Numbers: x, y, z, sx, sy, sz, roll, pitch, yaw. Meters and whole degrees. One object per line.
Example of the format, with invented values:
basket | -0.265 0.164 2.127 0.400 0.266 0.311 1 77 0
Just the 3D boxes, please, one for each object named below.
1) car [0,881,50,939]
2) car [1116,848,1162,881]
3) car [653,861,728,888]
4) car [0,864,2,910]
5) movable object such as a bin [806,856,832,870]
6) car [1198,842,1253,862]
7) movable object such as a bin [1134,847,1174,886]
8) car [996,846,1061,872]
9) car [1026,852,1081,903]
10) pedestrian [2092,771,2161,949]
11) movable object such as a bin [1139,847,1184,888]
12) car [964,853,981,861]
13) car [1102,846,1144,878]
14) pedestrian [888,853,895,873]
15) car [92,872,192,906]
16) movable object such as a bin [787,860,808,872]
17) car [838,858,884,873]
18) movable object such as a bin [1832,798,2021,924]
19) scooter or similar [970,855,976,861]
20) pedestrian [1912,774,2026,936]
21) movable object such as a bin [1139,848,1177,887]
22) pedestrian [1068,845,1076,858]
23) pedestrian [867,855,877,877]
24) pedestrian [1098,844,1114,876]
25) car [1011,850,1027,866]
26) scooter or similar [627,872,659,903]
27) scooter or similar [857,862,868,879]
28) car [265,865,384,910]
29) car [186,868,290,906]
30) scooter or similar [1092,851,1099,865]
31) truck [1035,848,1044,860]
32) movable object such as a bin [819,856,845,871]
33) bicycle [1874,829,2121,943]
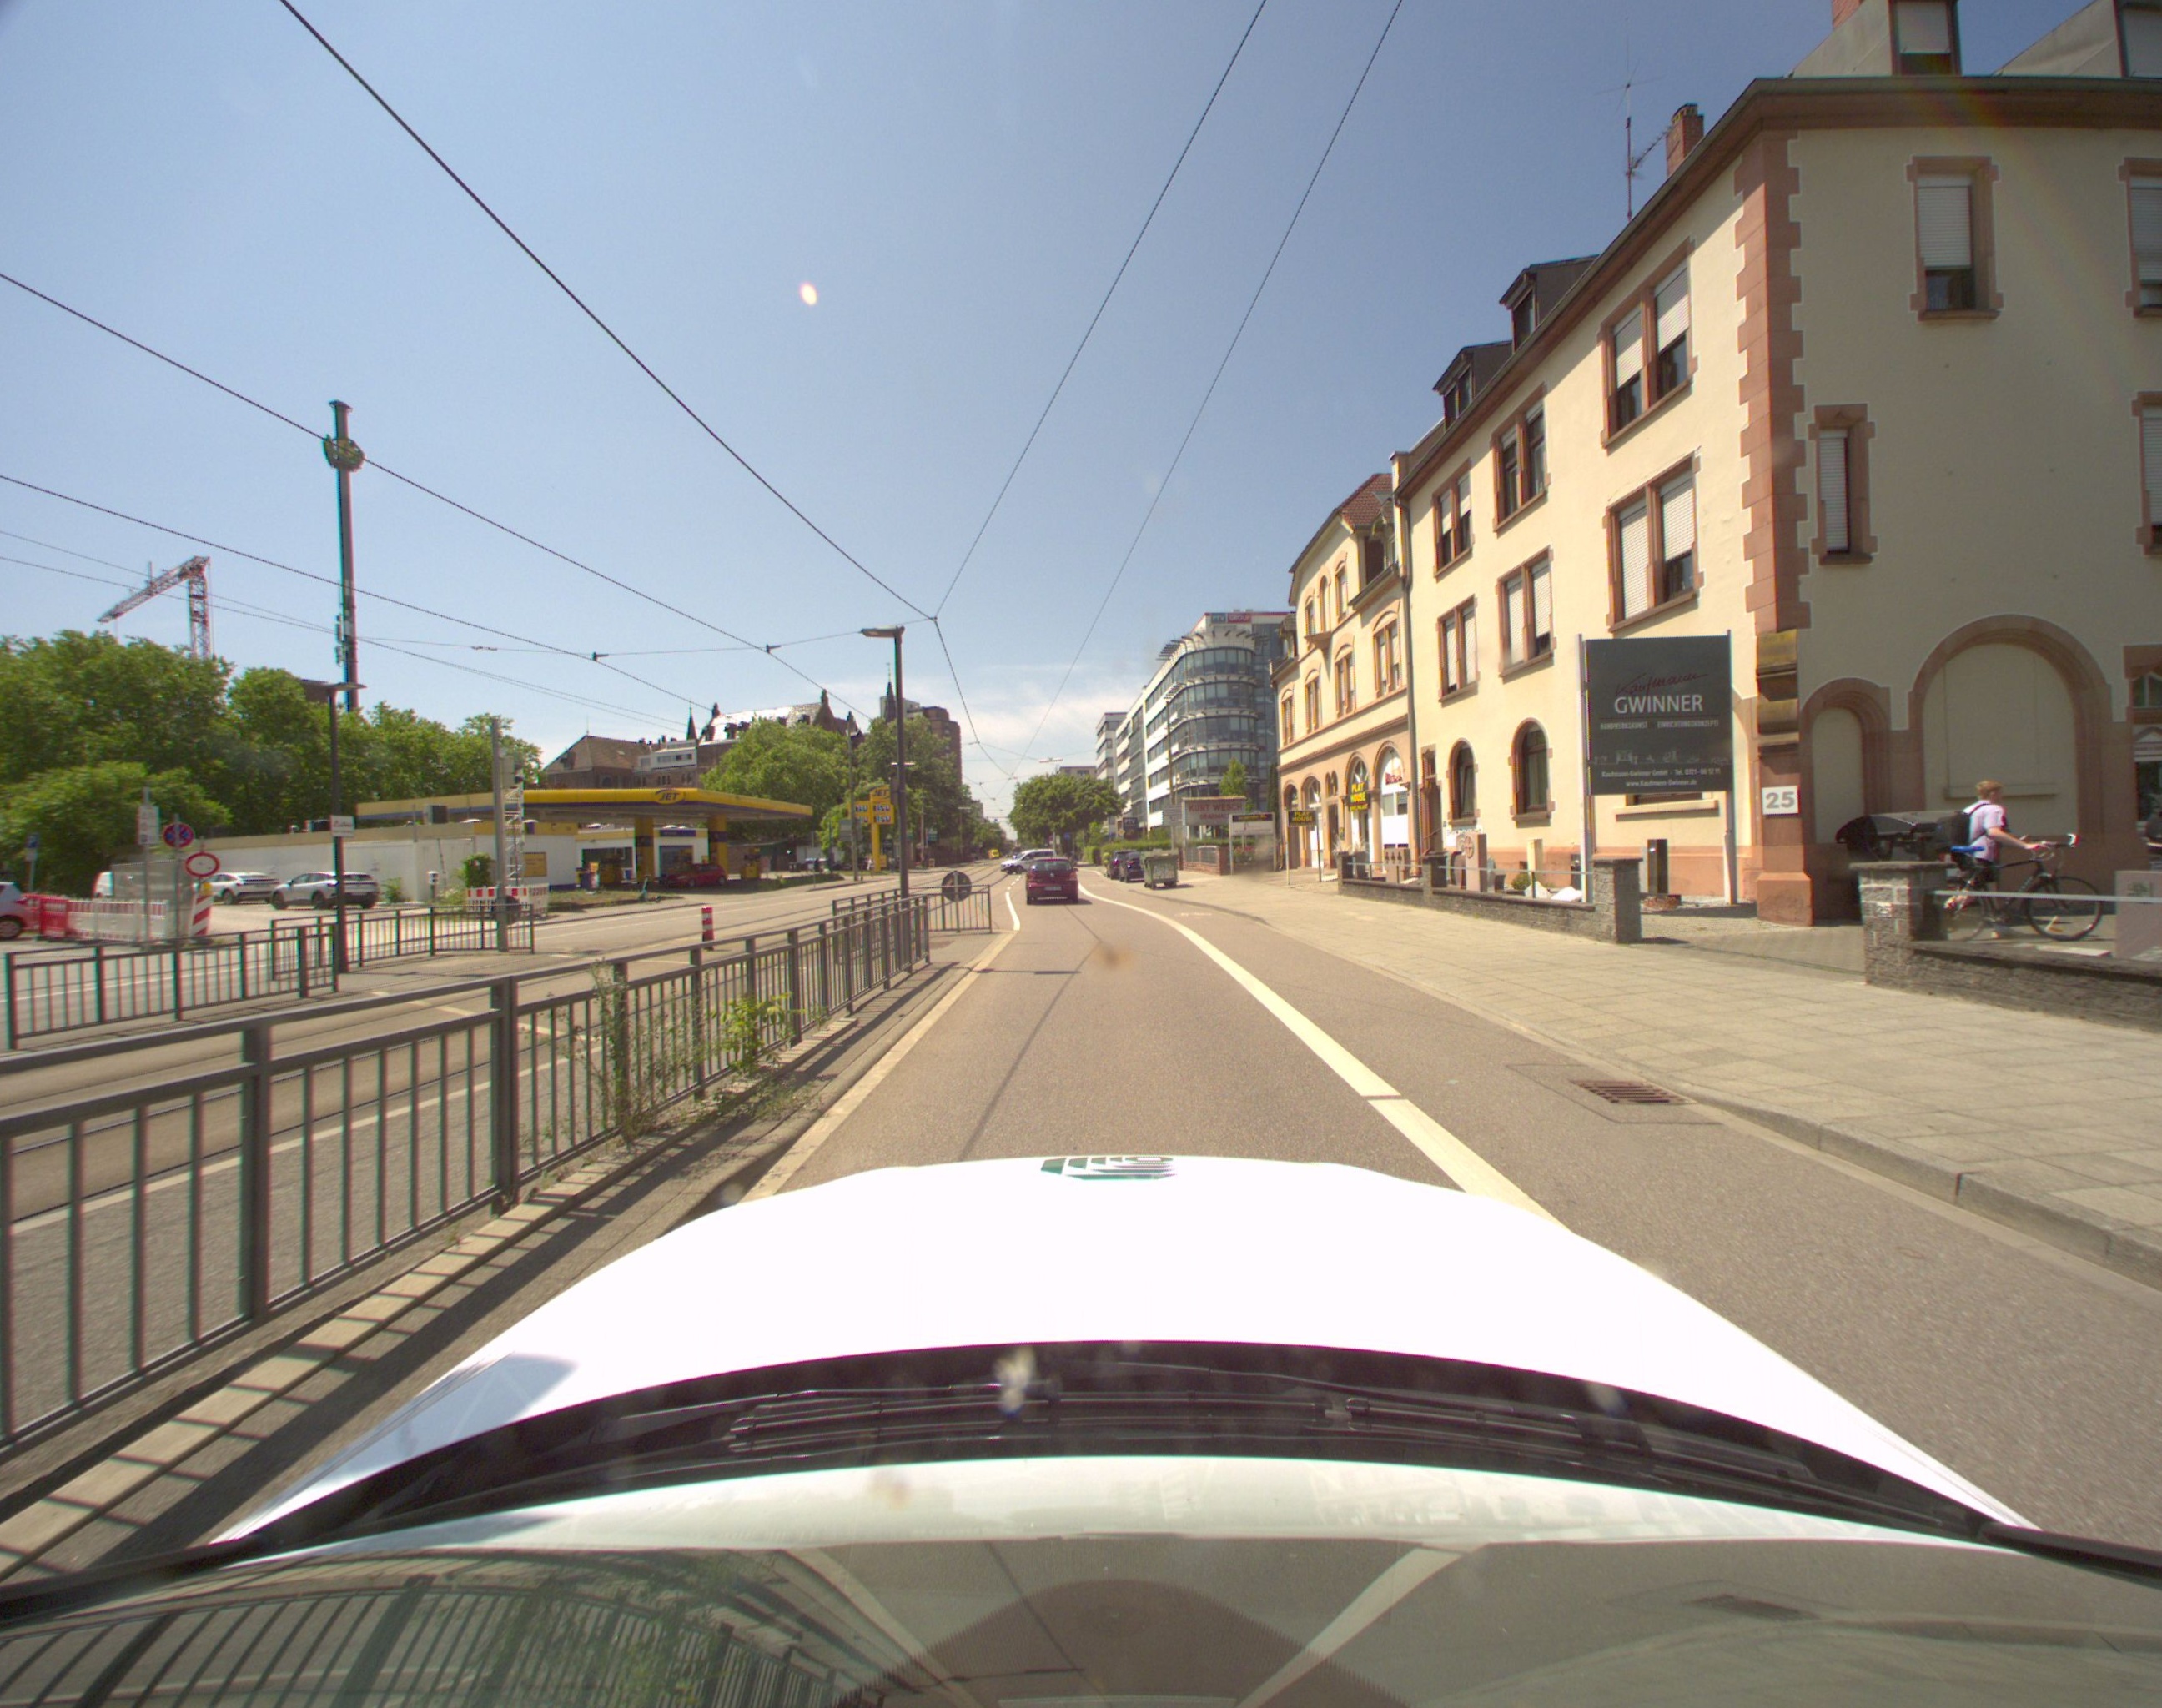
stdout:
car | -29.538 1.523 20.540 1.722 1.468 4.009 -1 0 8
car | 2.979 0.522 42.862 1.769 1.548 4.461 -4 0 -4
car | -24.825 1.274 51.975 1.811 1.504 4.220 0 2 19
car | -45.675 1.405 31.258 1.721 1.905 4.827 -2 0 9
movable object such as a bin | -27.104 0.945 84.237 1.508 1.432 2.110 -1 0 20
car | 11.739 -0.169 66.506 4.136 1.459 1.817 -2 0 -1
movable object such as a bin | 2.999 0.503 33.591 1.322 1.455 1.055 -4 0 -8
car | -4.046 0.390 62.479 4.562 1.799 1.983 -2 0 -26
car | -0.931 0.711 26.342 1.615 1.486 3.995 -1 0 -3
pedestrian | 10.696 0.043 7.948 0.819 1.691 0.591 -2 0 11
movable object such as a bin | 3.091 0.524 31.406 1.391 1.455 1.136 -4 0 -8
car | -28.051 0.747 210.420 3.974 2.013 2.000 -2 0 -1
car | 2.467 0.464 49.055 1.920 1.693 5.077 -4 0 -3
pedestrian | -17.469 0.844 75.089 0.579 1.775 0.698 -1 0 -8
car | -49.447 1.817 42.887 4.229 1.663 2.010 -1 0 19
movable object such as a bin | -29.452 1.252 84.529 1.392 1.138 1.572 -1 0 20
car | -22.834 1.168 84.681 1.910 1.488 4.480 0 0 36
movable object such as a bin | 11.075 0.090 10.725 1.324 1.499 1.047 -4 0 1
scooter or similar | -24.317 0.878 183.660 1.094 1.155 0.523 -1 0 -25
pedestrian | 10.107 0.012 9.288 0.683 1.772 0.505 -2 0 11
movable object such as a bin | 3.068 0.518 32.521 1.246 1.455 1.055 -4 0 -8
pedestrian | -1.281 -0.367 116.747 0.683 1.796 0.667 -4 0 -36
pedestrian | -16.833 0.951 65.727 0.624 1.691 0.721 -2 0 -5
pedestrian | 1.608 0.385 52.472 0.783 1.960 0.586 -2 0 -19
car | -8.107 0.467 106.399 1.991 2.013 3.991 -1 0 -6
scooter or similar | -18.619 1.424 34.625 0.342 1.264 1.248 -1 0 21
scooter or similar | -15.727 1.205 58.627 0.518 1.200 1.373 -1 0 -7
car | -31.853 1.386 34.304 4.229 1.746 1.901 -1 0 19
car | -42.487 1.641 41.072 4.229 1.781 2.010 -1 0 19
scooter or similar | 1.319 0.378 75.586 0.323 1.222 1.157 -1 0 17
truck | -9.645 -0.074 188.116 1.990 2.662 4.868 -1 0 -4
movable object such as a bin | -25.595 1.004 83.700 1.508 1.509 2.110 0 0 20
bicycle | 10.052 0.349 8.990 1.791 1.127 0.591 -4 0 10
